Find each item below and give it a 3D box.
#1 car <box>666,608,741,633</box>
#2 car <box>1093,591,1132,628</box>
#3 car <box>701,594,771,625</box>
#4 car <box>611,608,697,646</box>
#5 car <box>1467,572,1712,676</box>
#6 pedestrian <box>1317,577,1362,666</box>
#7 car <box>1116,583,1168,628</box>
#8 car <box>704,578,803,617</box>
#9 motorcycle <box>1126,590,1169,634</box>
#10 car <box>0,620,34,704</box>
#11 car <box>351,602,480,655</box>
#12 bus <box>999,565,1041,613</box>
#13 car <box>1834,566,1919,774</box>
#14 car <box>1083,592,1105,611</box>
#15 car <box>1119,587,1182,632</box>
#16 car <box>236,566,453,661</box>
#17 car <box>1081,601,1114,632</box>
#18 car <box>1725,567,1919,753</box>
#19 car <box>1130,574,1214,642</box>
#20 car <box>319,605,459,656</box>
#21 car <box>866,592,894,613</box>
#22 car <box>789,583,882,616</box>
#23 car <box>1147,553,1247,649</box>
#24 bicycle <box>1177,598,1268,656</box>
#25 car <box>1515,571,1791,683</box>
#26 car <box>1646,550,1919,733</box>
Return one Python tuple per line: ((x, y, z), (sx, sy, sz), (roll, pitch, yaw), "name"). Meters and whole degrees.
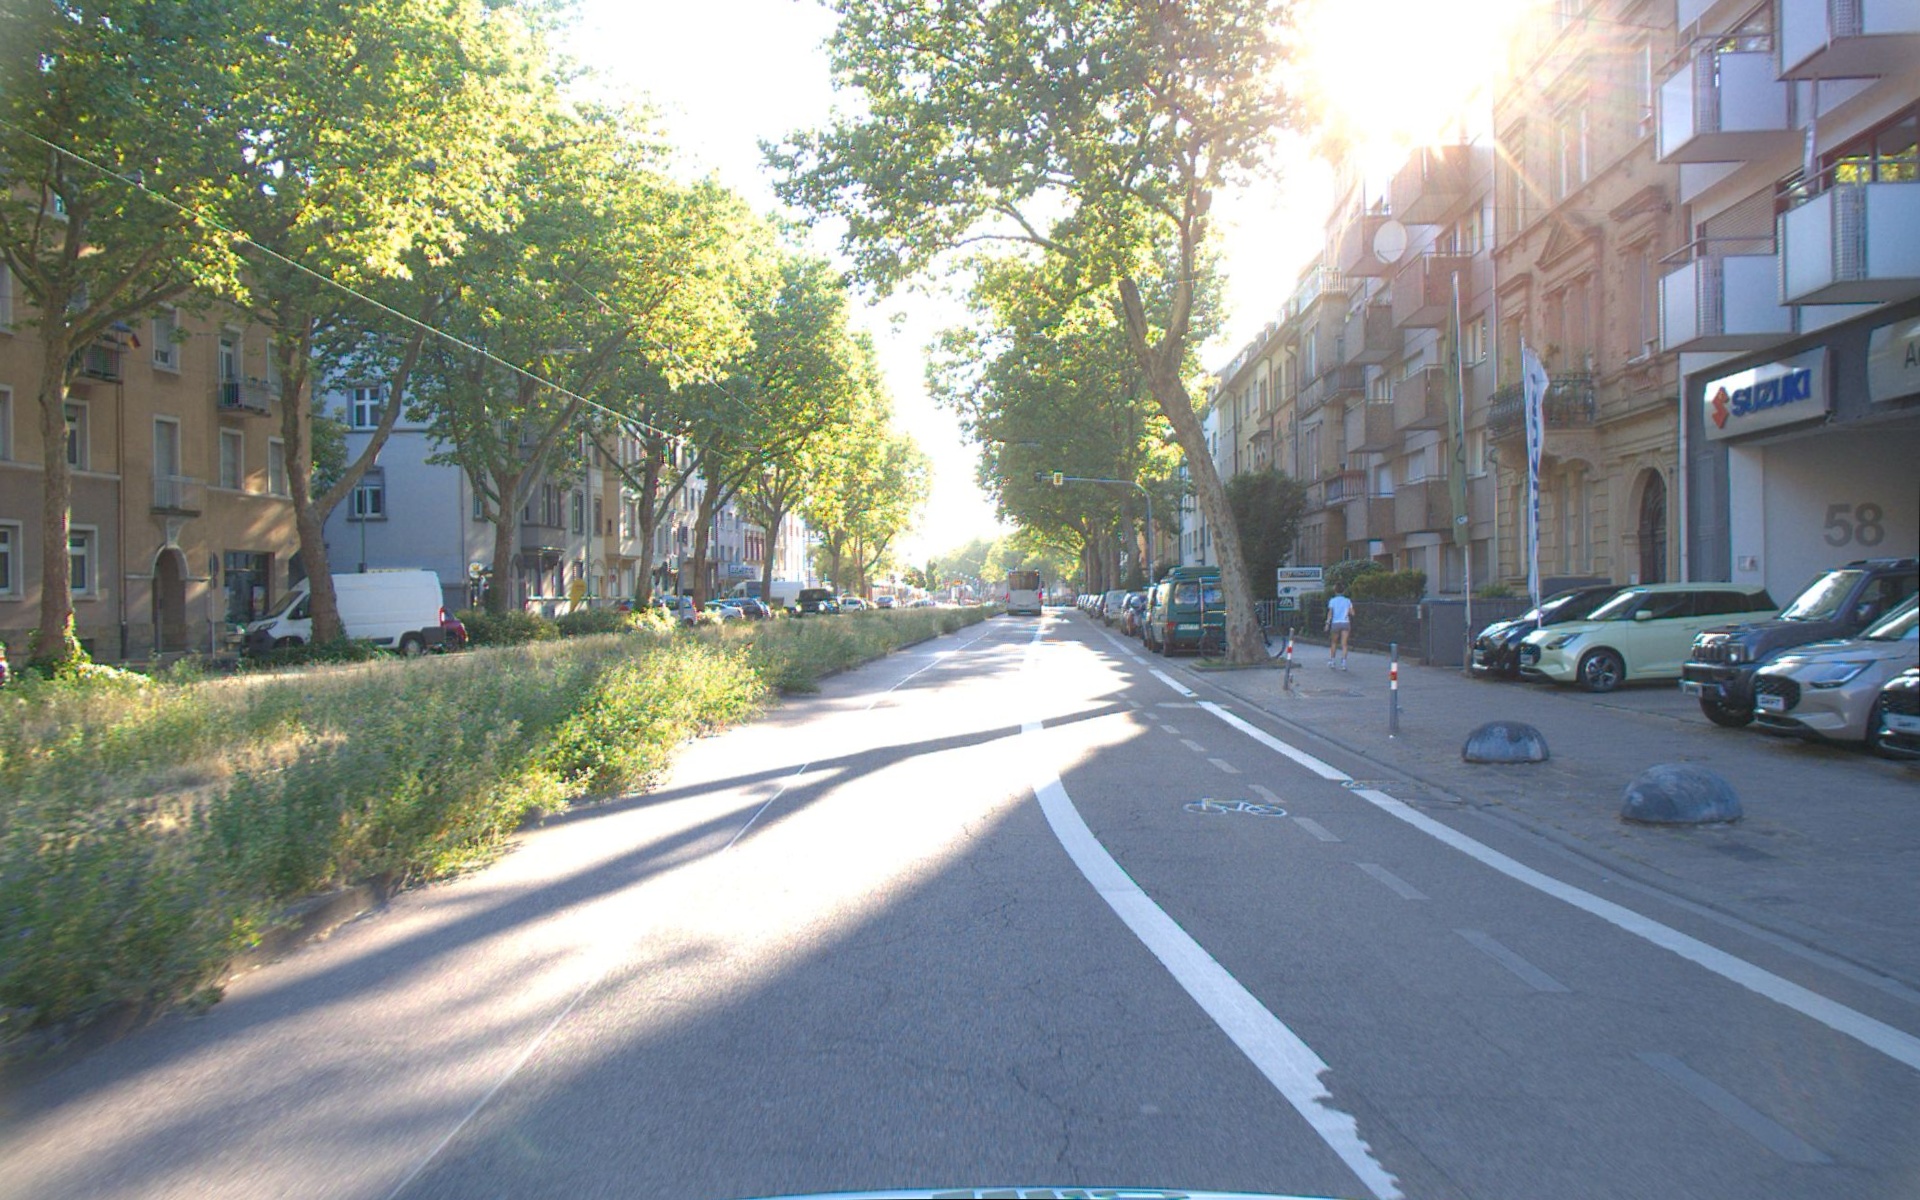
((-14.741, 1.165, 95.047), (3.943, 1.380, 1.571), (-1, -1, -29), "car")
((7.692, 0.498, 83.217), (1.707, 1.801, 4.398), (-1, -1, 8), "car")
((-14.091, 0.597, 103.969), (3.944, 1.728, 1.838), (-3, 0, -29), "car")
((-15.956, 1.381, 86.269), (3.958, 1.915, 1.973), (0, -1, -38), "car")
((10.024, 0.376, 26.474), (3.348, 1.573, 1.442), (-1, -1, 0), "car")
((7.207, 0.410, 31.455), (0.649, 1.657, 0.923), (-1, -1, 3), "pedestrian")
((7.235, 0.231, 66.021), (1.708, 1.720, 3.853), (-1, -1, 2), "car")
((-14.907, -0.159, 119.583), (6.830, 2.725, 2.174), (-1, -1, -18), "car")
((6.421, 0.404, 56.706), (0.808, 1.422, 2.374), (-3, 1, -9), "motorcycle")
((-18.338, 1.112, 28.754), (3.693, 1.447, 1.697), (-1, 0, -40), "car")
((-17.441, 0.880, 53.031), (3.658, 1.492, 1.719), (-2, 1, -29), "car")
((4.291, -0.716, 119.690), (2.775, 3.292, 8.182), (-1, -1, 0), "bus")
((8.843, 0.495, 12.691), (3.349, 1.551, 1.740), (-1, 0, -1), "car")
((11.582, 0.130, 143.205), (1.743, 1.542, 4.002), (-1, 0, 3), "car")
((6.997, 0.356, 60.957), (1.952, 1.587, 3.981), (-1, -1, 2), "car")
((-17.551, 0.328, 47.323), (5.456, 2.573, 2.096), (-1, 0, -40), "car")
((8.495, 1.014, 102.481), (1.708, 1.801, 4.989), (-1, -1, 2), "car")
((9.204, 0.480, 14.932), (3.740, 1.567, 1.859), (-1, 0, 1), "car")
((6.128, 0.240, 48.272), (1.952, 1.862, 4.758), (-1, -1, 2), "car")
((-17.318, 0.911, 50.193), (3.674, 1.424, 1.711), (-1, 0, -40), "car")
((-6.363, 0.222, 131.370), (1.752, 1.601, 4.002), (-1, 0, 3), "car")
((-6.768, -0.047, 89.865), (4.711, 1.723, 1.856), (-1, -1, -31), "car")
((6.050, 0.043, 42.824), (1.952, 2.297, 5.236), (-1, -1, 2), "car")
((5.411, 0.549, 34.134), (1.806, 1.163, 0.348), (-1, -1, 2), "bicycle")
((10.110, 0.392, 24.341), (3.346, 1.545, 1.758), (-1, -1, 5), "car")
((9.114, 0.384, 16.943), (3.505, 1.750, 1.683), (-1, 1, 5), "car")
